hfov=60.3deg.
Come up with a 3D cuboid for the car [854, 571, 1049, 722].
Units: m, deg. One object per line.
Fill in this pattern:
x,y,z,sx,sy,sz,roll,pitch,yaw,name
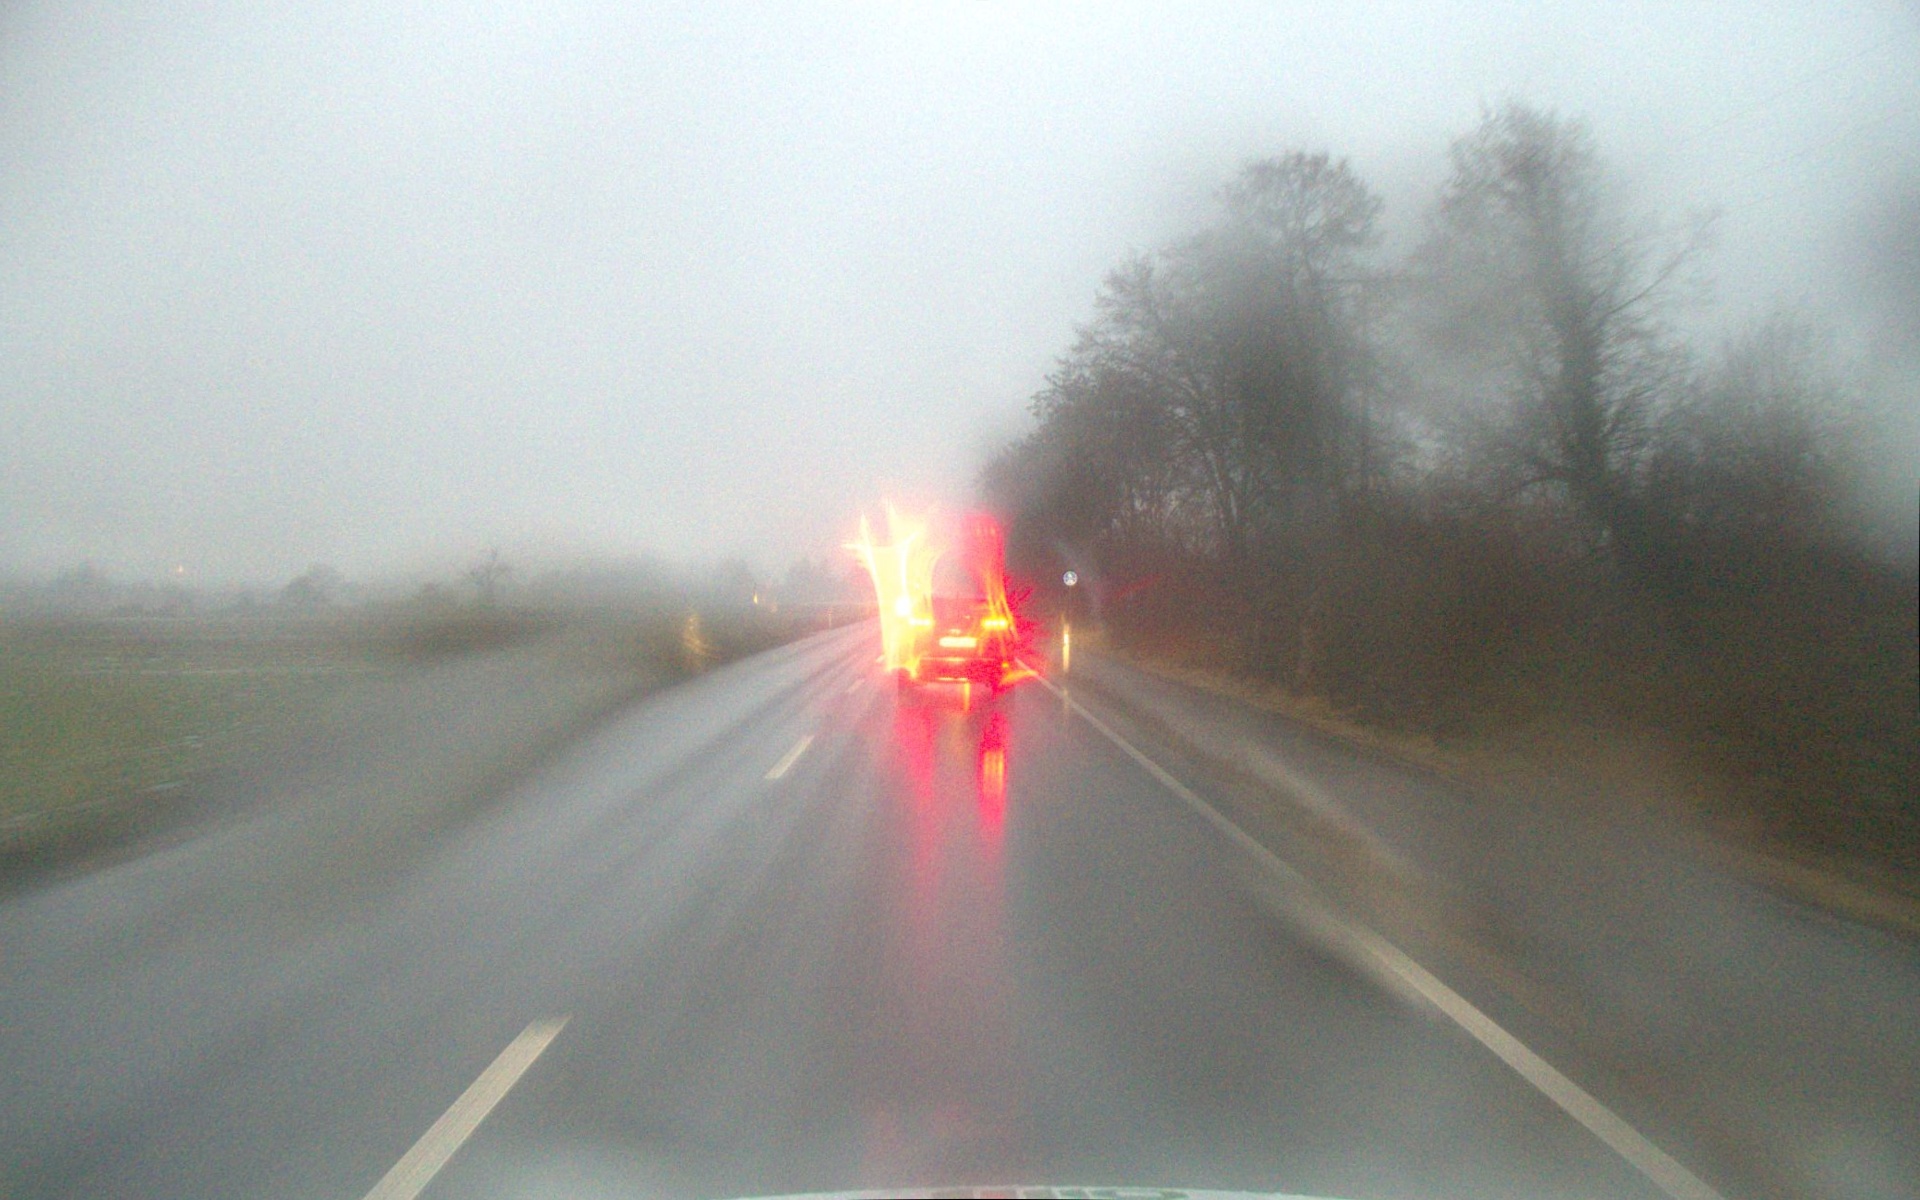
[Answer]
-0.133,0.677,26.530,2.763,2.113,5.803,1,0,0,car
